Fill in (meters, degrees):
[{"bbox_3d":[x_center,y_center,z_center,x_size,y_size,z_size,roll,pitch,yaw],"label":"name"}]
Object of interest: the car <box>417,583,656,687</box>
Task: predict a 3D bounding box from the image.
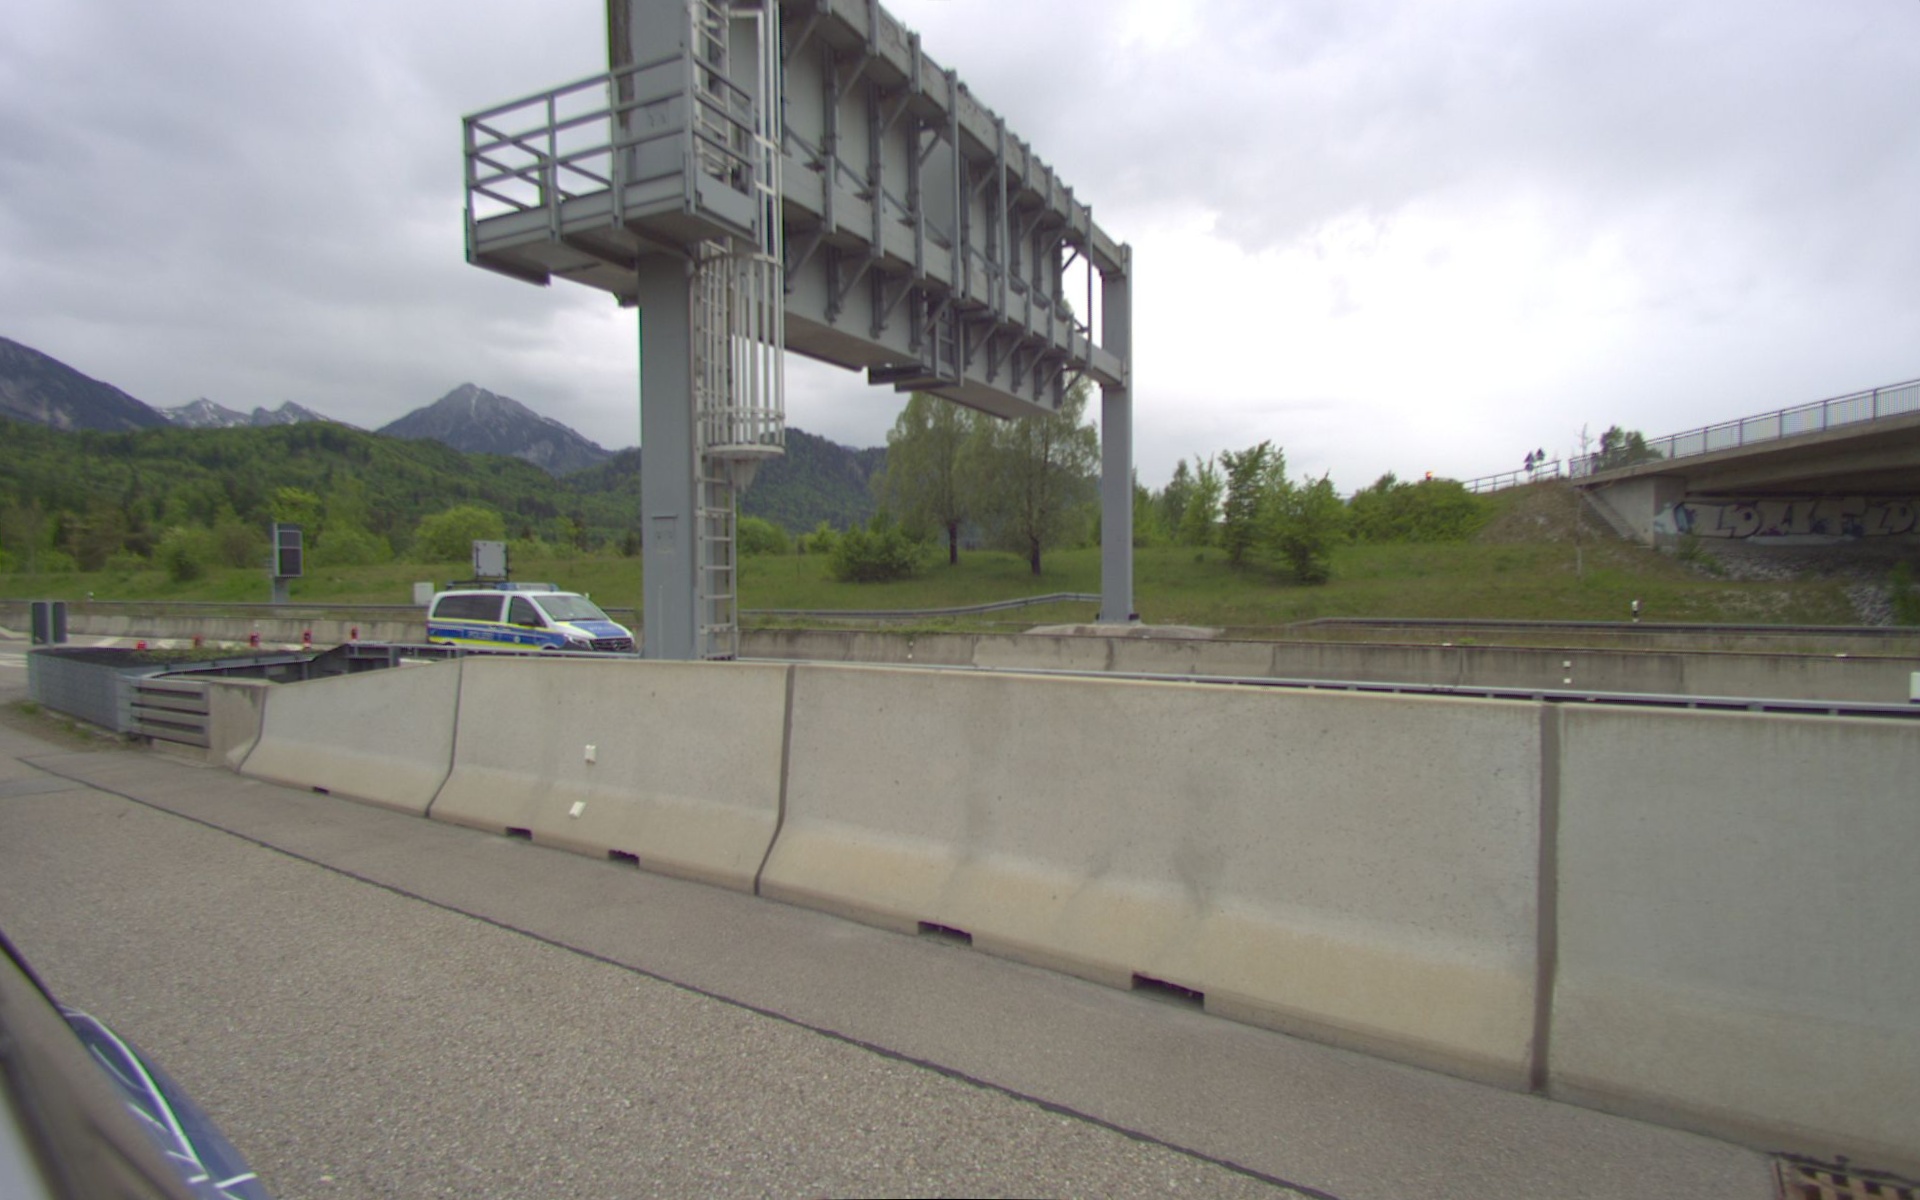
[{"bbox_3d":[-9.221,0.697,21.975,5.028,2.029,2.085,0,0,28],"label":"car"}]
